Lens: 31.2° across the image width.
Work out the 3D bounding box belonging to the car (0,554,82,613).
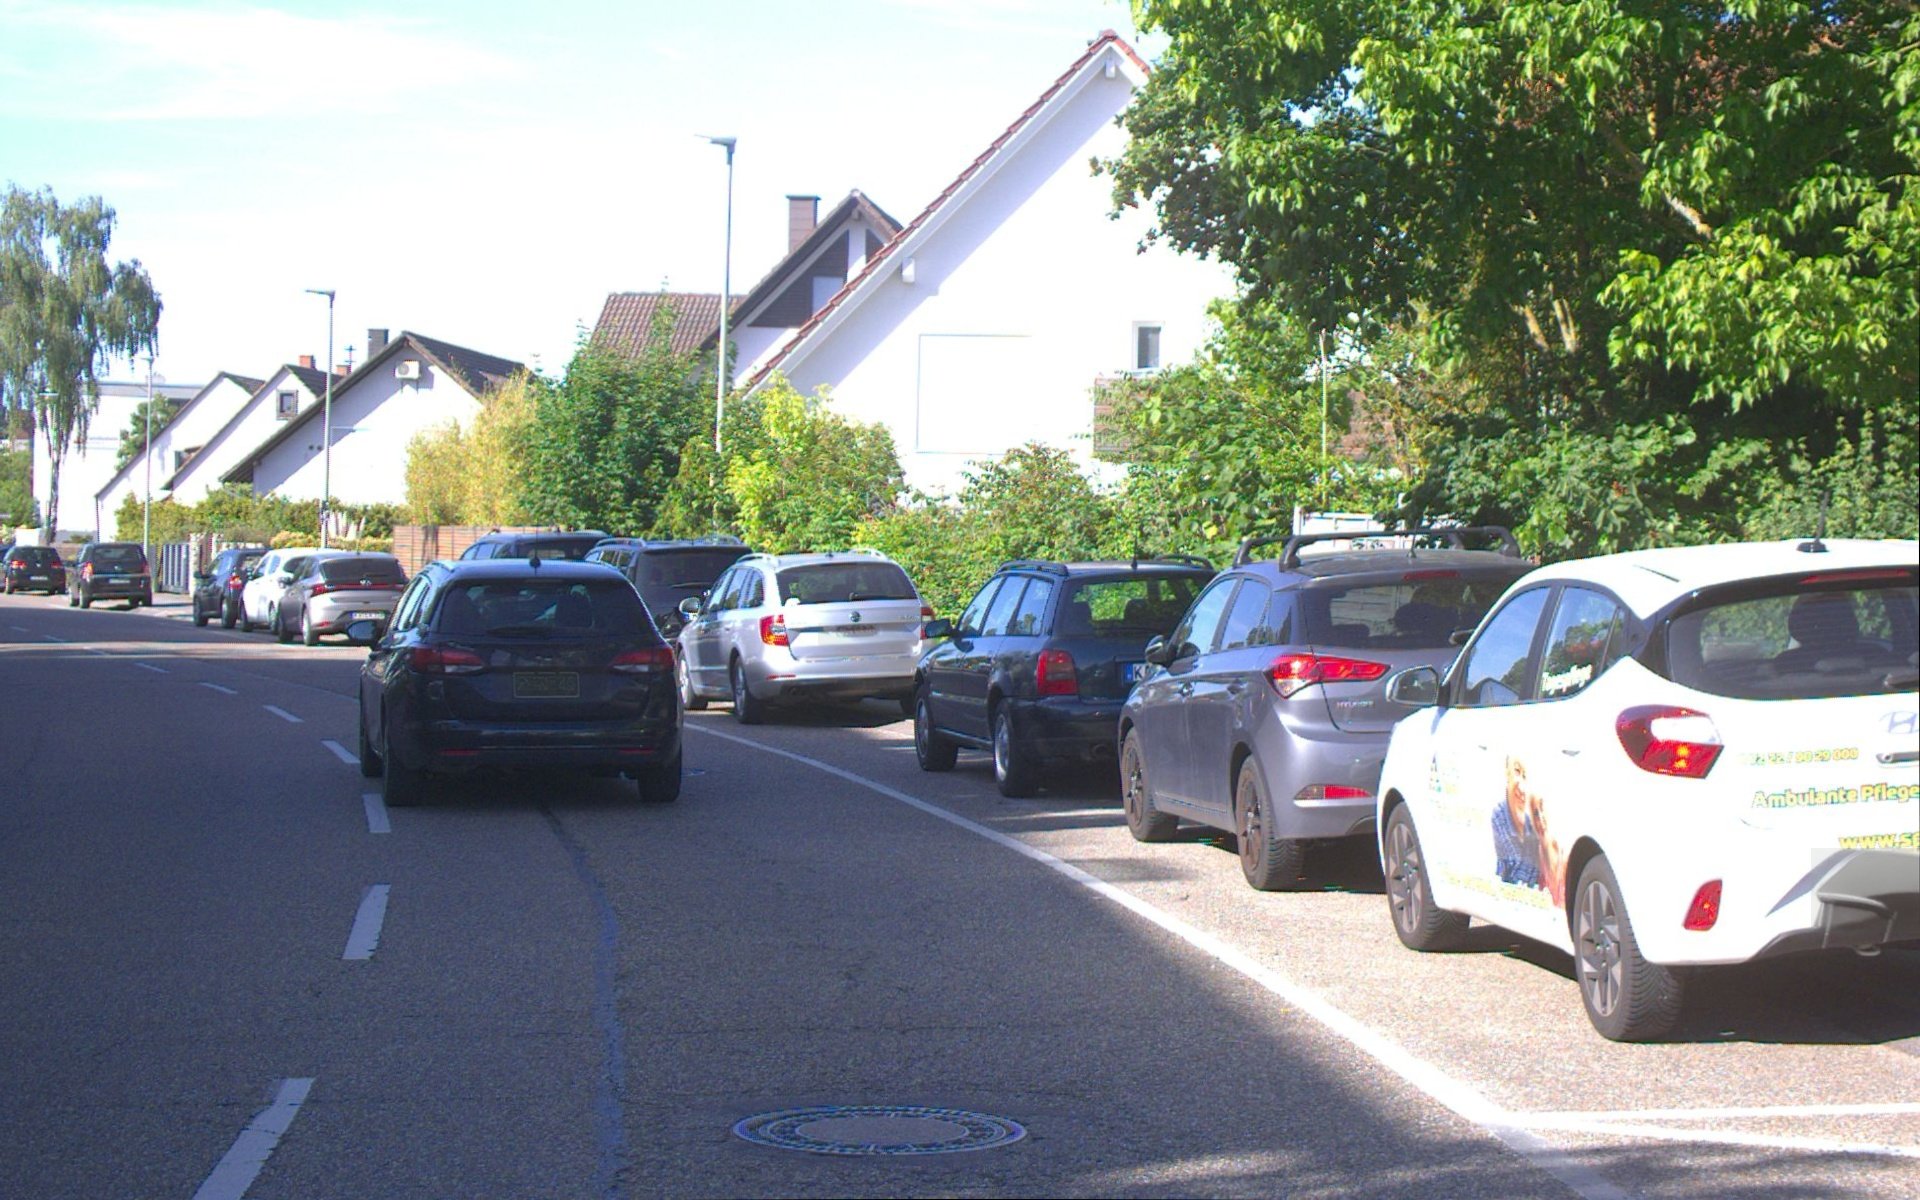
[{"bbox_3d":[-27.934,-0.494,104.332,2.005,1.718,4.295,1,0,-21],"label":"car"}]

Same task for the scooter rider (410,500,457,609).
[{"bbox_3d":[-9.885,-0.844,64.520,0.685,2.007,0.820,1,-2,-20],"label":"scooter rider"}]

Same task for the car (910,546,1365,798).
[{"bbox_3d":[1.026,0.424,22.336,2.005,1.470,4.295,1,0,-10],"label":"car"}]

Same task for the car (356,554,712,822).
[{"bbox_3d":[-2.798,0.487,21.783,1.761,1.486,4.292,2,0,-13],"label":"car"}]

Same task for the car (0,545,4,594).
[{"bbox_3d":[-35.322,-1.107,122.623,2.005,1.718,4.295,1,0,-21],"label":"car"}]

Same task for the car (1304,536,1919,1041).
[{"bbox_3d":[2.578,0.552,12.268,1.760,1.475,4.295,1,0,-7],"label":"car"}]

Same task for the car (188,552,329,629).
[{"bbox_3d":[-13.401,-0.189,65.501,1.915,1.402,4.295,1,0,-22],"label":"car"}]

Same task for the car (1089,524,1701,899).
[{"bbox_3d":[1.957,0.455,16.878,1.911,1.595,4.295,1,1,-8],"label":"car"}]

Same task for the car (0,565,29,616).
[{"bbox_3d":[-33.088,-0.337,117.507,2.005,1.718,4.295,1,0,-21],"label":"car"}]

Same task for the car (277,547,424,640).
[{"bbox_3d":[-9.776,-0.105,54.912,1.915,1.402,4.295,1,0,-15],"label":"car"}]

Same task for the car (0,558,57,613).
[{"bbox_3d":[-30.161,-0.458,109.998,2.005,1.718,4.295,1,0,-21],"label":"car"}]

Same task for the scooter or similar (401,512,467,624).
[{"bbox_3d":[-9.880,-0.575,64.532,0.685,2.007,2.963,1,-1,-19],"label":"scooter or similar"}]

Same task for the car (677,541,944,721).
[{"bbox_3d":[-1.443,0.263,31.538,1.819,1.529,4.260,1,0,-11],"label":"car"}]

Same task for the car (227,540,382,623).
[{"bbox_3d":[-11.693,-0.331,61.127,1.915,1.402,4.295,1,0,-22],"label":"car"}]

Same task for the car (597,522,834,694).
[{"bbox_3d":[-2.687,0.078,36.827,2.005,1.718,4.295,1,0,-11],"label":"car"}]

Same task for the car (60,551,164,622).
[{"bbox_3d":[-21.165,-0.342,85.730,2.005,1.718,4.295,1,0,-21],"label":"car"}]

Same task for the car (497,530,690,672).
[{"bbox_3d":[-4.609,0.012,42.770,1.902,1.660,4.192,1,0,-13],"label":"car"}]
